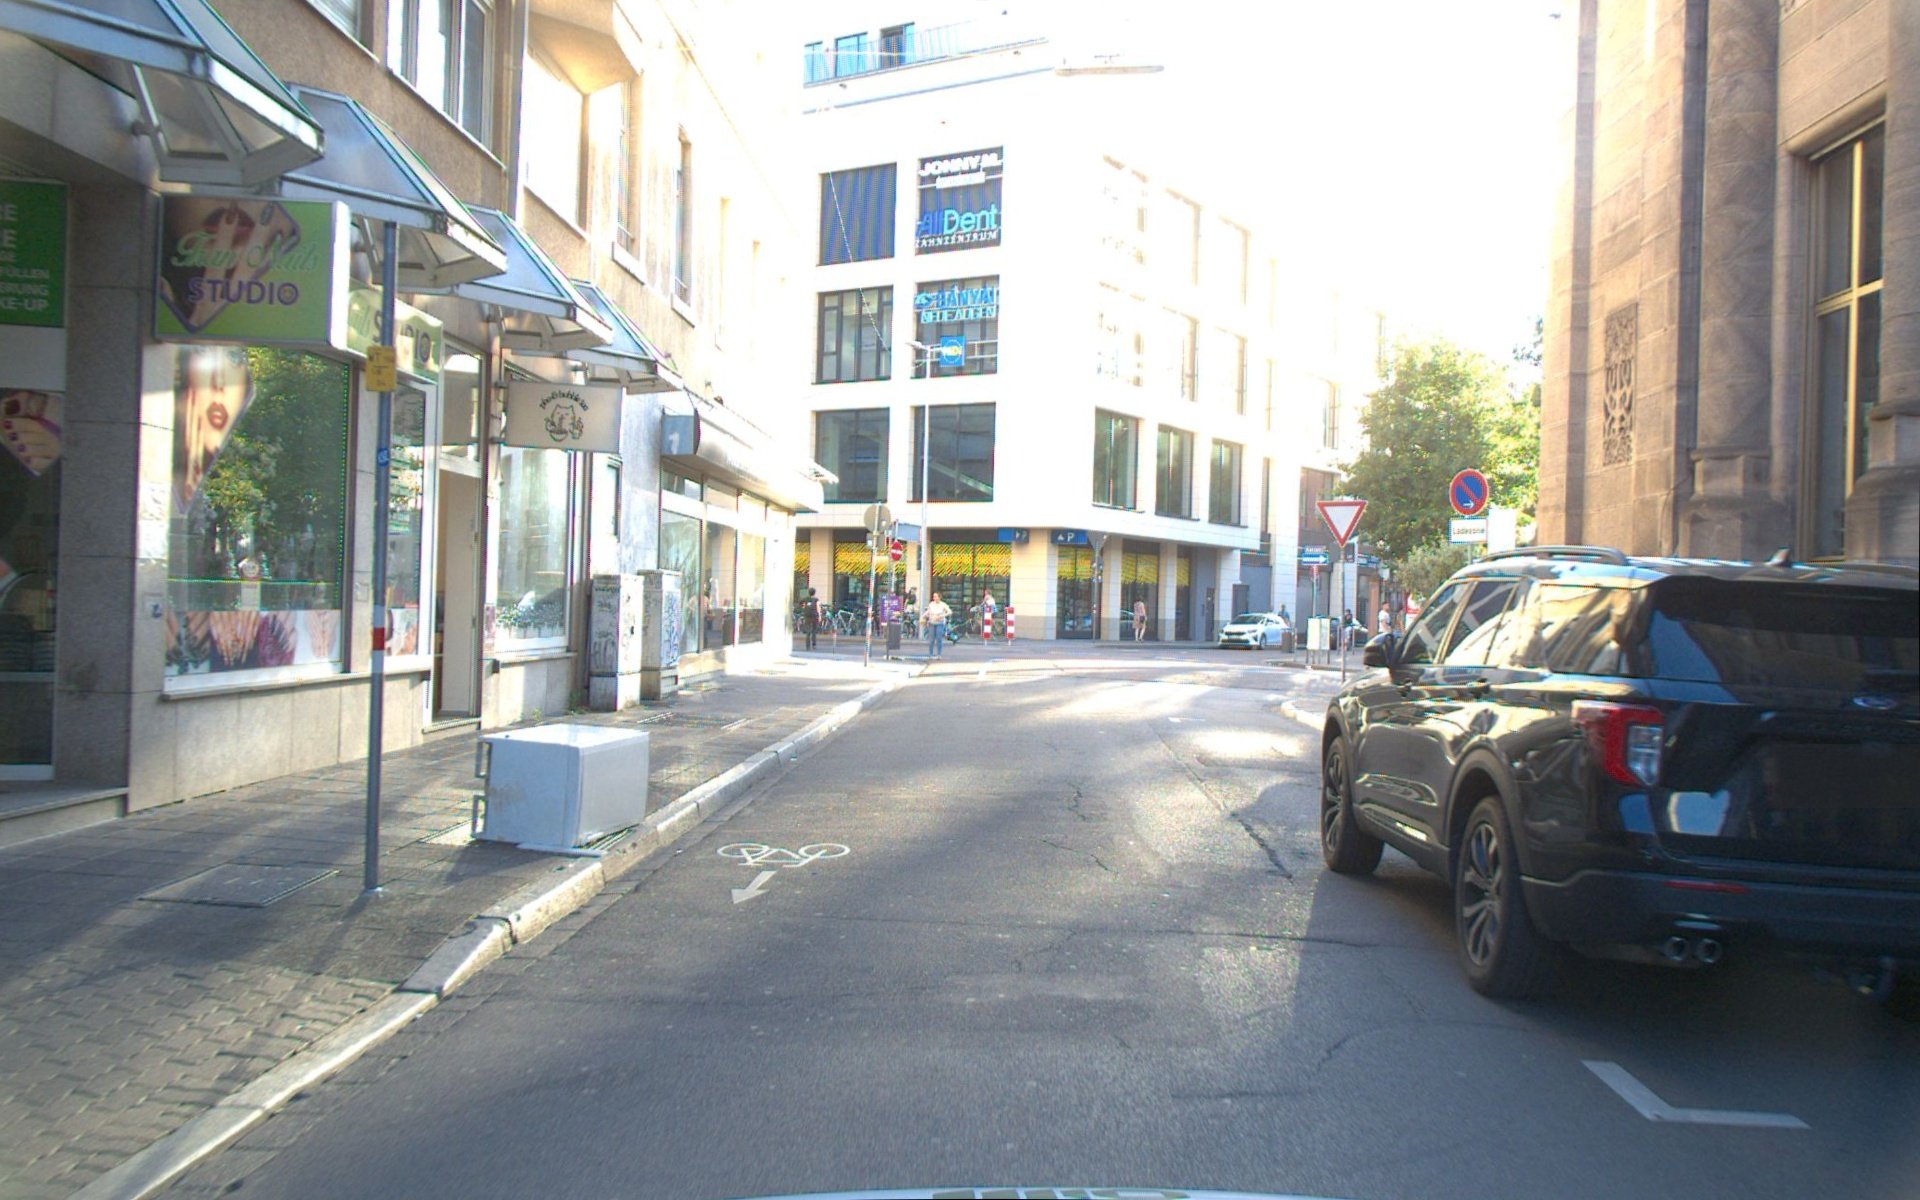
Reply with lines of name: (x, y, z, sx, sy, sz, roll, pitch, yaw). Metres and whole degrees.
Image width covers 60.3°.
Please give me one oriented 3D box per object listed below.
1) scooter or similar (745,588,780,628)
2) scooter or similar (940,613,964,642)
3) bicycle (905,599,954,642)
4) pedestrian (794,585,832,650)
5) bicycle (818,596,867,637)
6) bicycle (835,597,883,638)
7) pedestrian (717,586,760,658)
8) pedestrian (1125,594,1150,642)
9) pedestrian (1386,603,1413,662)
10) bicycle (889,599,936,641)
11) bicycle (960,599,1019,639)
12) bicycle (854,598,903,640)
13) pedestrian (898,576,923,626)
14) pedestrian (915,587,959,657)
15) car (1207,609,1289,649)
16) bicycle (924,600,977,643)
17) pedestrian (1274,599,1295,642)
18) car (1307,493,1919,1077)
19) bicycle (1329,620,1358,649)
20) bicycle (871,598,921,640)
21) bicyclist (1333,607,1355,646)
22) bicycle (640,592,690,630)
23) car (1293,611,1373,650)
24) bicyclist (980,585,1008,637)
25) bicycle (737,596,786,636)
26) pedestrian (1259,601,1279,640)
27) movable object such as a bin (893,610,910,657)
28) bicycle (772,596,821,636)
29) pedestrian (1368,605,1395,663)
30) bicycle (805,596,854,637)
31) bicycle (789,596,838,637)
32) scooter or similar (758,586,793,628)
scooter or similar: (-6.276, 0.258, 52.614, 0.379, 1.233, 1.268, 2, -1, 31)
scooter or similar: (-0.249, 0.890, 53.141, 0.379, 0.899, 0.768, 2, -1, 31)
bicycle: (-0.938, 0.658, 51.883, 0.570, 1.277, 2.040, 2, -1, 29)
pedestrian: (-3.908, 0.456, 43.906, 0.855, 1.687, 0.616, 2, -1, -15)
bicycle: (-3.791, 0.541, 53.697, 0.502, 1.277, 1.974, 2, -1, 31)
bicycle: (-3.235, 0.584, 53.390, 0.502, 1.277, 1.975, 2, -1, 30)
pedestrian: (-5.165, 0.501, 38.565, 0.716, 1.641, 0.805, 1, -1, 13)
pedestrian: (6.680, 0.672, 62.140, 0.660, 1.775, 0.645, 1, -1, 33)
pedestrian: (12.875, 0.941, 48.485, 0.688, 1.699, 0.642, 1, 1, 19)
bicycle: (-1.498, 0.652, 52.164, 0.502, 1.277, 1.975, 2, -1, 29)
bicycle: (0.985, 0.630, 55.839, 1.937, 1.277, 0.611, 2, -1, 33)
bicycle: (-2.602, 0.608, 52.950, 0.502, 1.277, 1.974, 2, -1, 31)
pedestrian: (-1.771, 0.045, 59.032, 0.627, 1.753, 0.840, 2, 0, -22)
pedestrian: (-0.551, 0.531, 39.581, 0.793, 1.641, 0.728, 2, -1, -27)
car: (11.453, 1.150, 65.625, 1.745, 1.478, 4.220, 1, 0, 31)
bicycle: (-0.269, 0.676, 51.535, 0.651, 1.277, 2.137, 2, -1, 29)
pedestrian: (14.332, 0.888, 73.064, 0.659, 1.868, 0.646, 2, 0, 31)
car: (3.100, 0.595, 7.687, 1.952, 1.814, 4.935, 2, 0, 1)
bicycle: (15.936, 1.419, 68.696, 0.651, 1.158, 1.818, 2, -1, 30)
bicycle: (-2.024, 0.617, 52.474, 0.503, 1.277, 1.973, 2, -1, 33)
bicyclist: (15.943, 1.092, 68.655, 0.646, 1.598, 0.861, 2, -1, 30)
bicycle: (-10.344, 0.397, 57.998, 0.502, 1.277, 1.974, 2, -1, 31)
car: (16.549, 1.339, 73.225, 1.851, 1.626, 4.673, 1, 0, 35)
bicyclist: (1.158, 0.371, 55.647, 0.631, 1.725, 0.682, 2, 0, 33)
bicycle: (-6.662, 0.547, 55.613, 0.502, 1.277, 1.974, 2, -1, 31)
pedestrian: (13.733, 0.909, 73.412, 0.659, 1.704, 0.646, 2, 0, 31)
movable object such as a bin: (-1.371, 0.773, 38.713, 0.352, 1.082, 0.355, 2, -1, -8)
bicycle: (-5.412, 0.552, 54.901, 0.502, 1.277, 1.974, 2, -1, 31)
pedestrian: (12.604, 1.009, 49.434, 0.688, 1.699, 0.642, 1, 1, 19)
bicycle: (-4.247, 0.553, 54.025, 0.502, 1.277, 1.974, 2, -1, 31)
bicycle: (-4.824, 0.546, 54.428, 0.502, 1.277, 1.974, 2, -1, 31)
scooter or similar: (-5.826, 0.237, 52.249, 0.379, 1.282, 1.268, 2, -1, 31)
